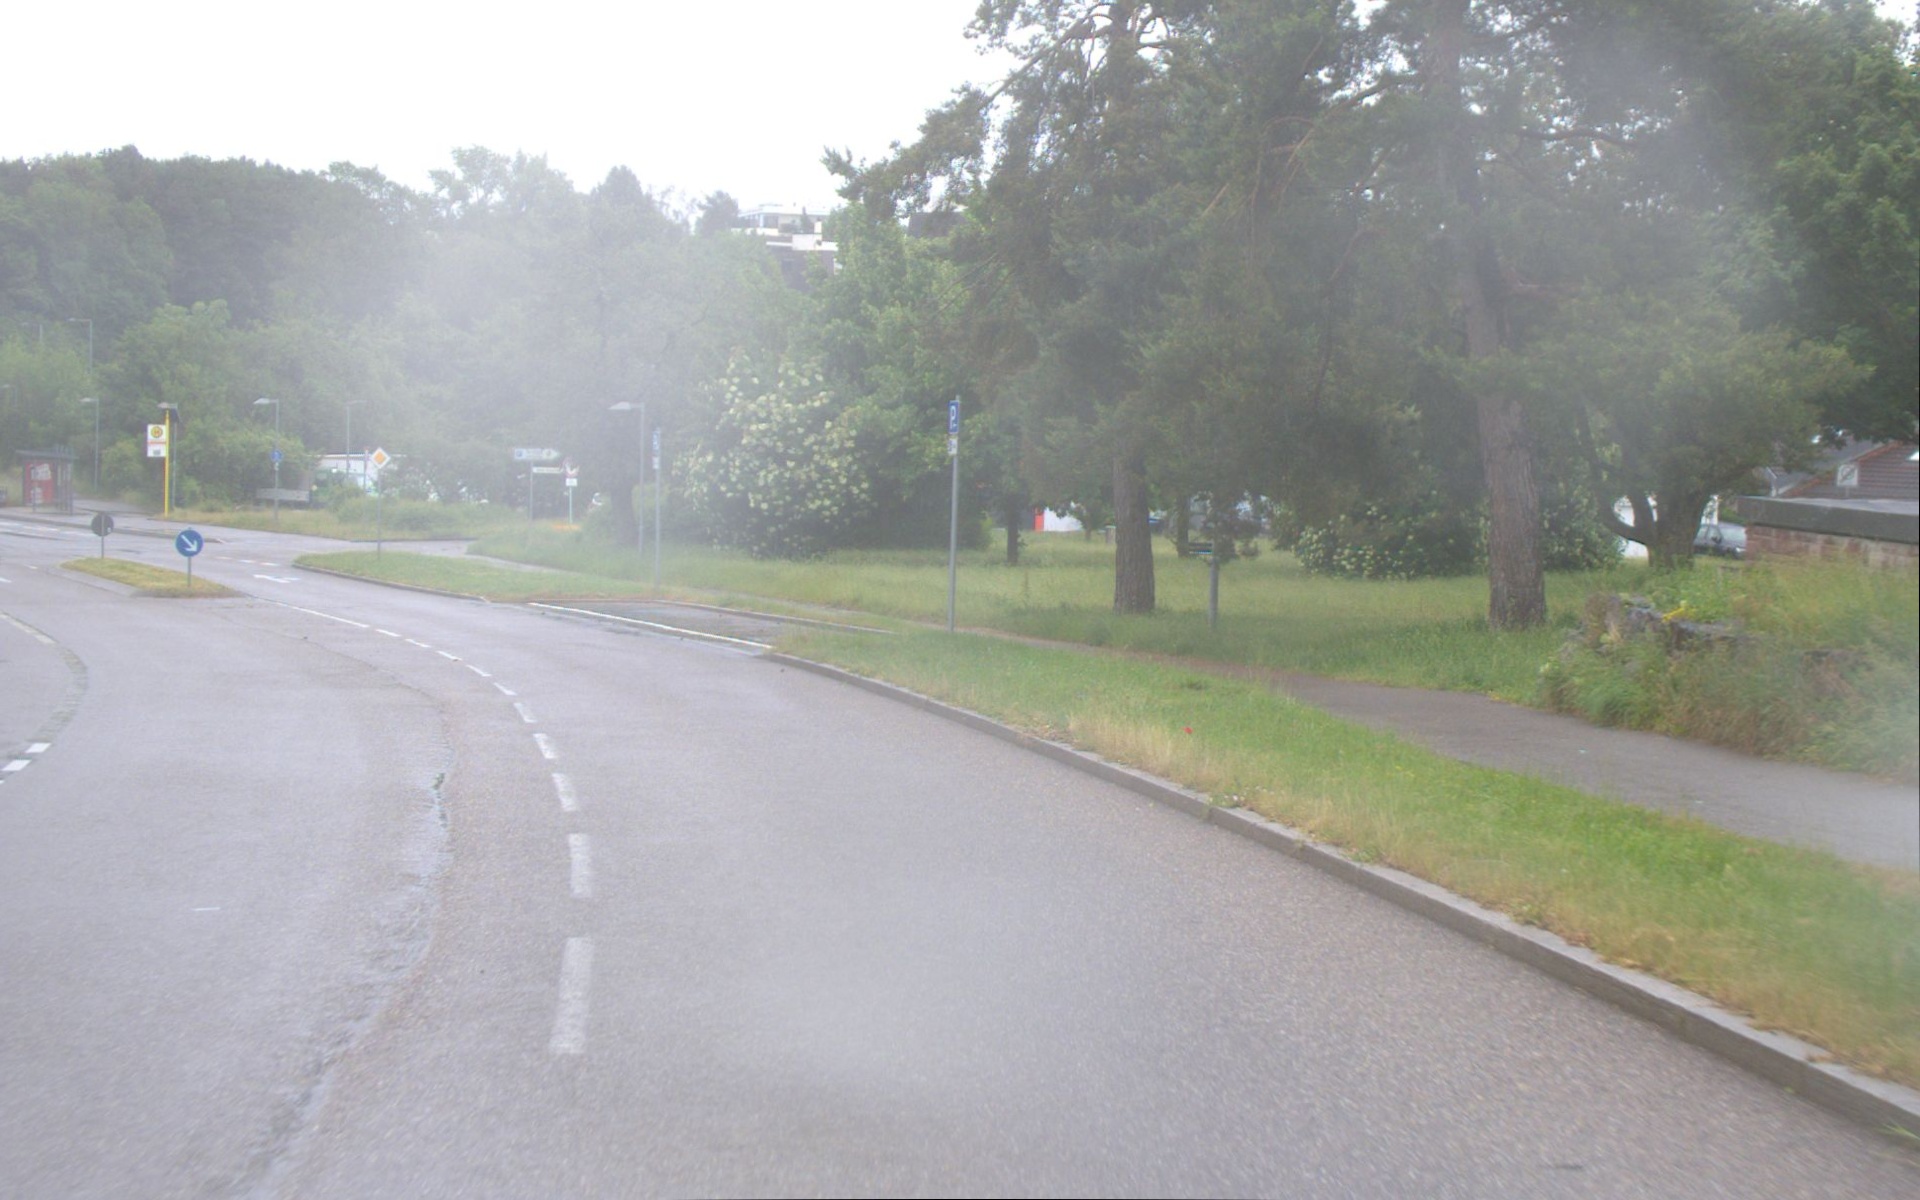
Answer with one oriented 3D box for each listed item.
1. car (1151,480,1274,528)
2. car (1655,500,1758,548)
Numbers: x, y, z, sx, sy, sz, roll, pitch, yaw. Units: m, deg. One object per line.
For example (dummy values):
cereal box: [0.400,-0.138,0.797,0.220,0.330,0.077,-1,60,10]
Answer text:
car: [10.116,-3.851,138.011,4.553,1.744,1.909,-1,1,36]
car: [24.297,-2.467,112.061,1.972,1.459,4.001,-3,1,-7]
